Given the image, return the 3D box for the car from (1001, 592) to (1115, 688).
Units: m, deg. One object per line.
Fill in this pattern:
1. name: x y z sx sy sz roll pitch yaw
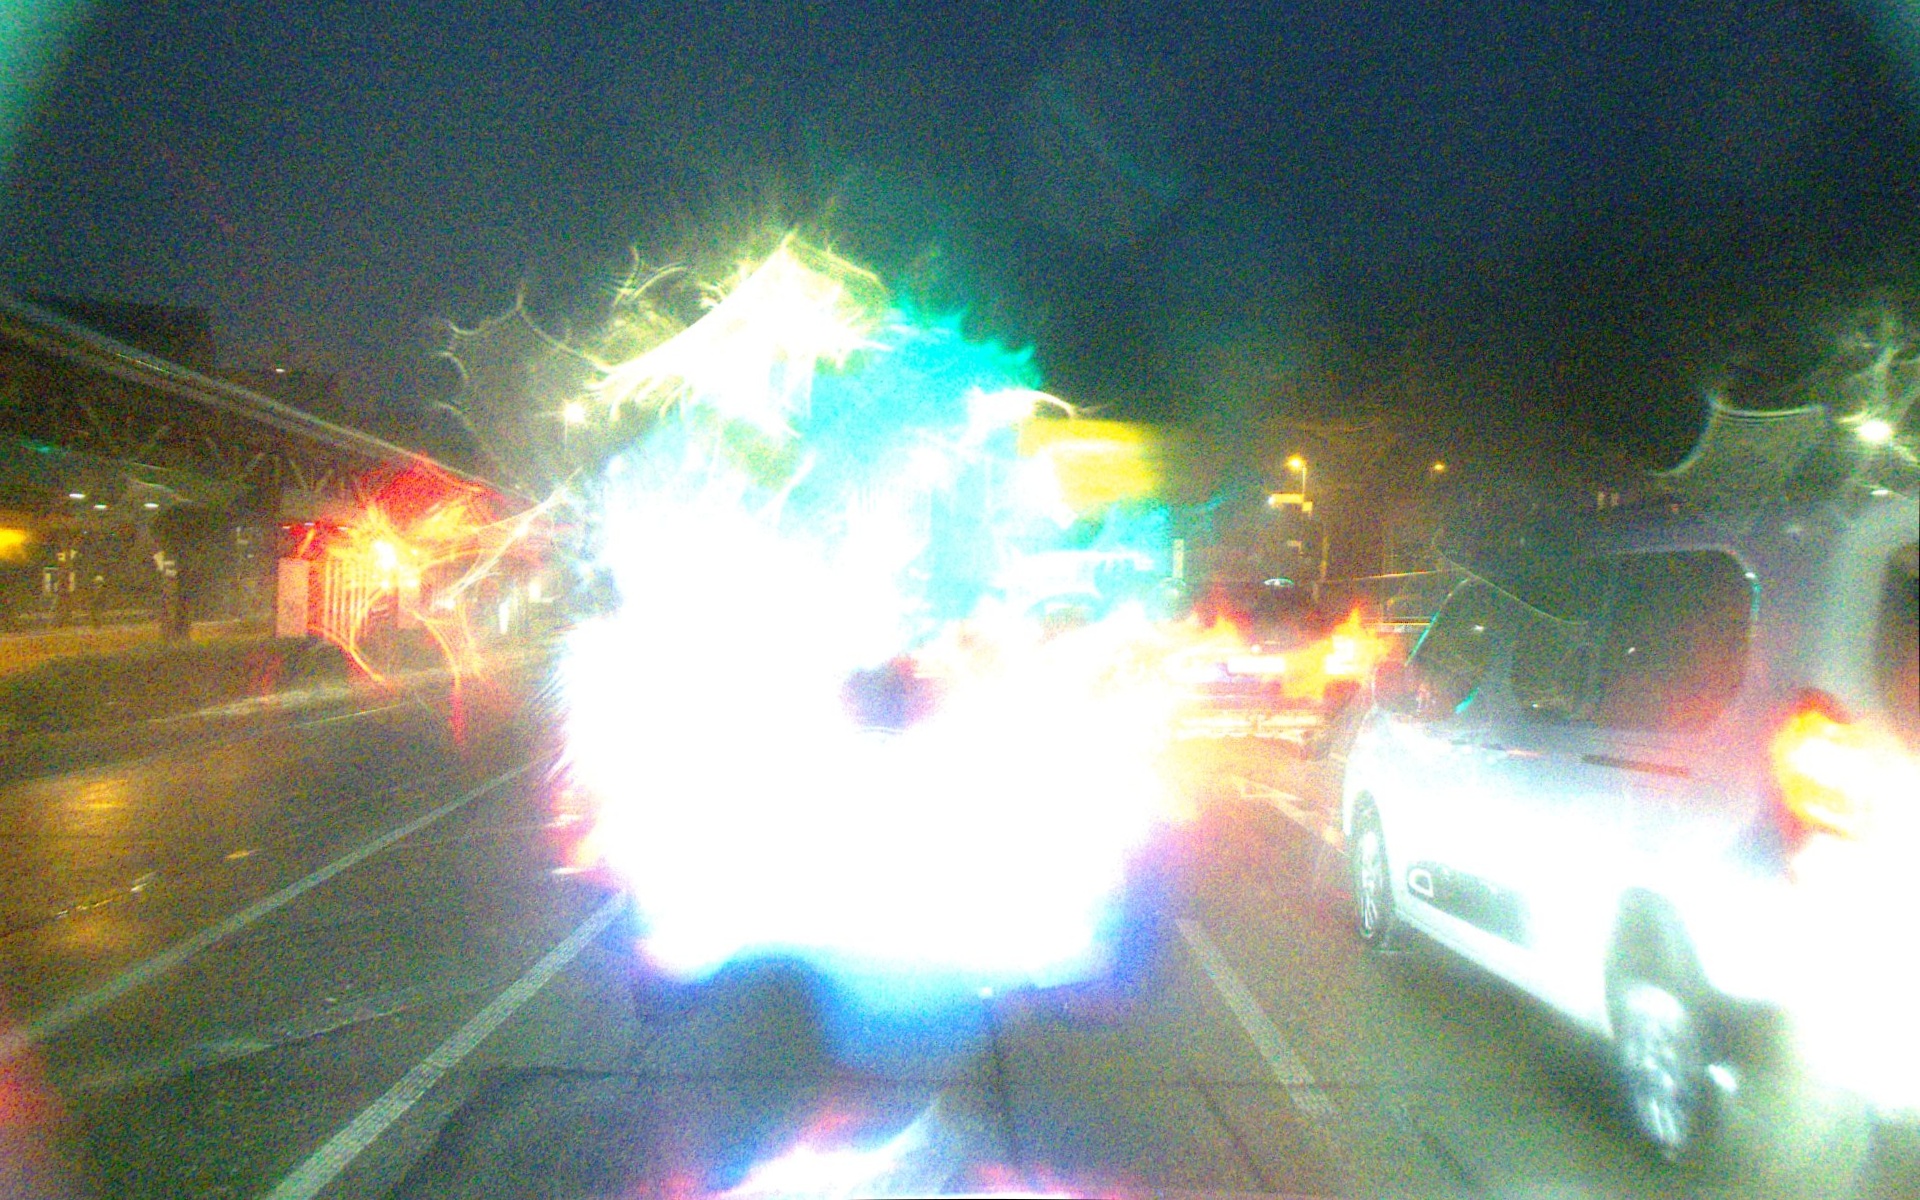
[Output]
1. car: 1.896 0.766 33.034 1.953 1.748 3.999 1 0 -1

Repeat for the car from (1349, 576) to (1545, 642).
1. car: 11.717 0.203 39.793 4.244 1.485 1.849 1 -1 28

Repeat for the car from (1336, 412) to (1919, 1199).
1. car: 2.740 0.581 5.709 1.814 1.897 4.339 1 0 -1

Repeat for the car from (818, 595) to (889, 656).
1. car: -3.450 0.791 52.951 1.956 1.856 3.993 1 0 -8

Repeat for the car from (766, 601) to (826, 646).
1. car: -7.068 1.006 71.194 1.960 1.856 3.984 1 0 -15

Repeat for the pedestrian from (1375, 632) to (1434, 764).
1. pedestrian: 5.989 1.313 22.285 0.610 1.731 0.540 1 -1 -3

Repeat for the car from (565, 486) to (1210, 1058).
1. car: -0.269 0.553 7.380 1.974 1.747 4.450 1 0 -1

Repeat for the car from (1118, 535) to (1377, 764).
1. car: 2.850 0.471 17.285 1.929 2.083 3.999 1 0 -1

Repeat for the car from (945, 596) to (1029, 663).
1. car: 0.680 0.770 44.951 1.954 1.699 3.997 1 0 -4

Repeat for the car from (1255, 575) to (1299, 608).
1. car: 20.200 -0.534 105.596 1.953 2.049 3.999 1 0 -1

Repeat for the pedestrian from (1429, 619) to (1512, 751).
1. pedestrian: 6.855 1.134 22.236 0.850 1.731 0.617 1 -1 -15

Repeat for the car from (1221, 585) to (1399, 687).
1. car: 5.422 0.513 26.130 1.749 1.467 4.236 0 0 -2

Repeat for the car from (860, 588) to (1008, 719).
1. car: -0.379 0.733 24.127 1.953 1.713 3.999 1 0 -1
